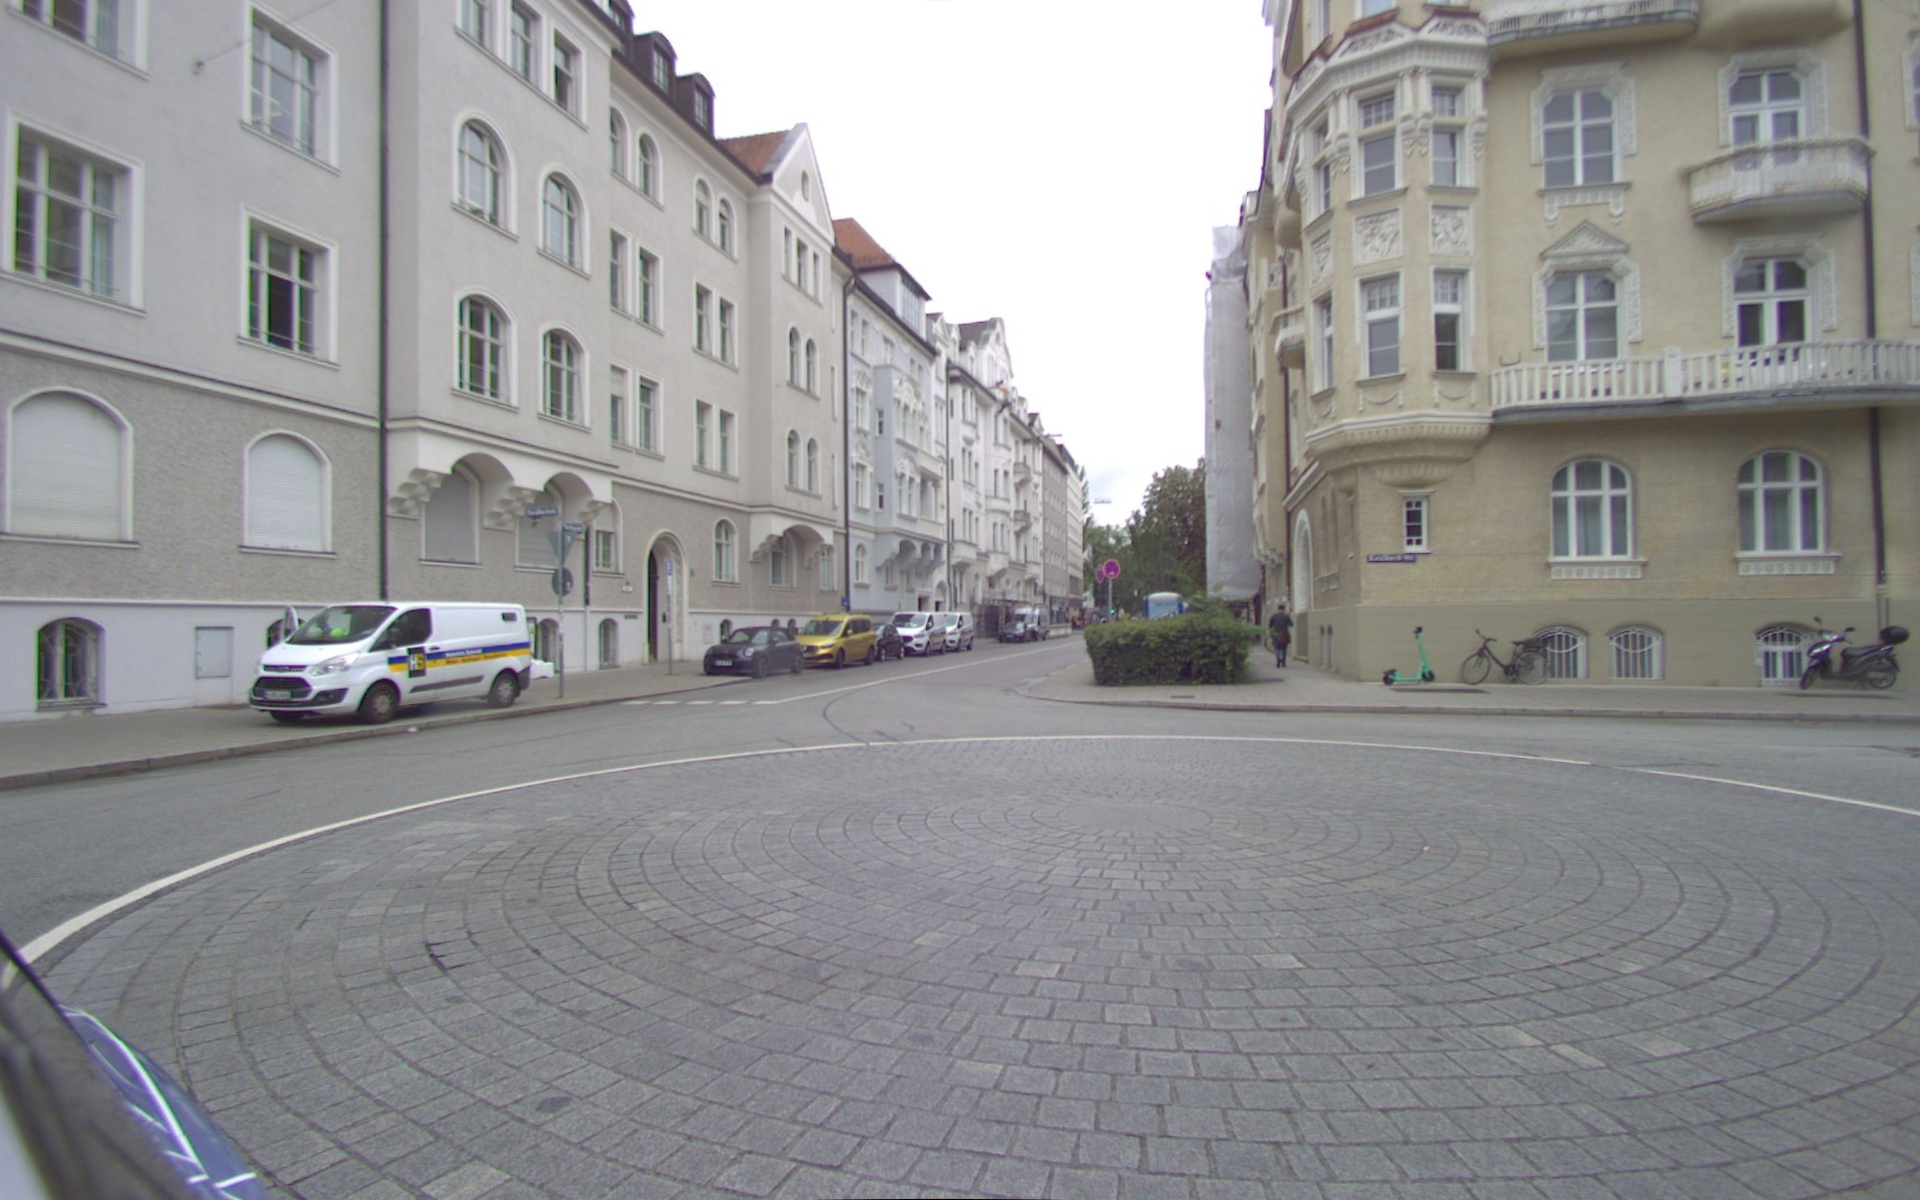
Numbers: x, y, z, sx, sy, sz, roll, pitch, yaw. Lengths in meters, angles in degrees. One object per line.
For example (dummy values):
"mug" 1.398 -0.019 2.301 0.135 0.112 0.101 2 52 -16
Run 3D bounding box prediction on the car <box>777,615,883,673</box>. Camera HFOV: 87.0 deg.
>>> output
"car" -4.387 1.492 34.920 1.840 1.867 4.793 -1 -2 17

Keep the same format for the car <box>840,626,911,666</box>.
"car" -3.265 1.789 39.862 1.622 1.495 3.764 -1 -2 15

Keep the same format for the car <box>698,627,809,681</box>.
"car" -5.968 1.549 29.690 1.654 1.468 3.877 -1 -2 15

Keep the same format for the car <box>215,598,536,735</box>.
"car" -9.655 1.034 17.315 1.903 1.977 4.906 0 -2 13

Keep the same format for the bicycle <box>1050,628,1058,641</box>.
"bicycle" 9.605 3.545 102.890 0.509 1.269 1.812 3 -1 13

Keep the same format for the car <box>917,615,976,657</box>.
"car" -0.640 1.829 51.677 1.946 2.029 4.973 0 -2 12

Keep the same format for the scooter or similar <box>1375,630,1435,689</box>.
"scooter or similar" 9.141 1.206 20.777 1.334 1.175 0.530 1 -2 -36

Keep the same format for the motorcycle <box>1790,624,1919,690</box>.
"motorcycle" 17.204 1.050 18.785 2.538 1.189 1.003 -1 -2 13

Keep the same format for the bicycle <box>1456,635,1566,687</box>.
"bicycle" 11.199 1.231 20.613 1.865 1.030 0.558 -1 -2 14

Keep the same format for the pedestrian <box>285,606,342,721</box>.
"pedestrian" -10.971 1.062 17.173 0.592 1.902 0.667 -2 -3 44

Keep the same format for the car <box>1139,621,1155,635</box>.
"car" 22.475 3.355 121.519 1.756 1.657 4.255 0 -2 13

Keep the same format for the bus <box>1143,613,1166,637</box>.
"bus" 26.162 3.372 135.675 2.563 3.124 8.881 0 -2 14

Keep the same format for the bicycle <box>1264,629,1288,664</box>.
"bicycle" 11.989 1.757 38.422 0.740 1.285 1.695 -1 -2 15

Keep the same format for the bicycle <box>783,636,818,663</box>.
"bicycle" -6.802 2.093 43.355 0.690 1.102 2.027 1 -1 15

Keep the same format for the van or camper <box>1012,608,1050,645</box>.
"van or camper" 5.369 2.004 75.631 1.941 2.657 5.433 -1 -2 14

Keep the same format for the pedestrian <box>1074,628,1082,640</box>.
"pedestrian" 13.970 4.020 119.668 0.855 1.362 0.858 0 -2 14

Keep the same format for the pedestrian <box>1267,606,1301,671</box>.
"pedestrian" 9.264 1.087 28.977 0.883 1.824 1.051 -1 -2 16

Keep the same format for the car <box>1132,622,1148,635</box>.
"car" 20.579 3.265 115.774 1.574 1.490 3.766 0 -2 13

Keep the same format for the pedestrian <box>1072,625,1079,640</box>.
"pedestrian" 13.349 3.755 117.081 0.698 1.746 0.743 0 -2 14

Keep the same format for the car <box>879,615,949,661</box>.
"car" -1.987 1.686 45.612 1.946 1.952 4.973 0 -2 12

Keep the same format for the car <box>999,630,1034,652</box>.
"car" 3.931 2.831 69.833 1.742 1.445 4.070 -1 -2 13
